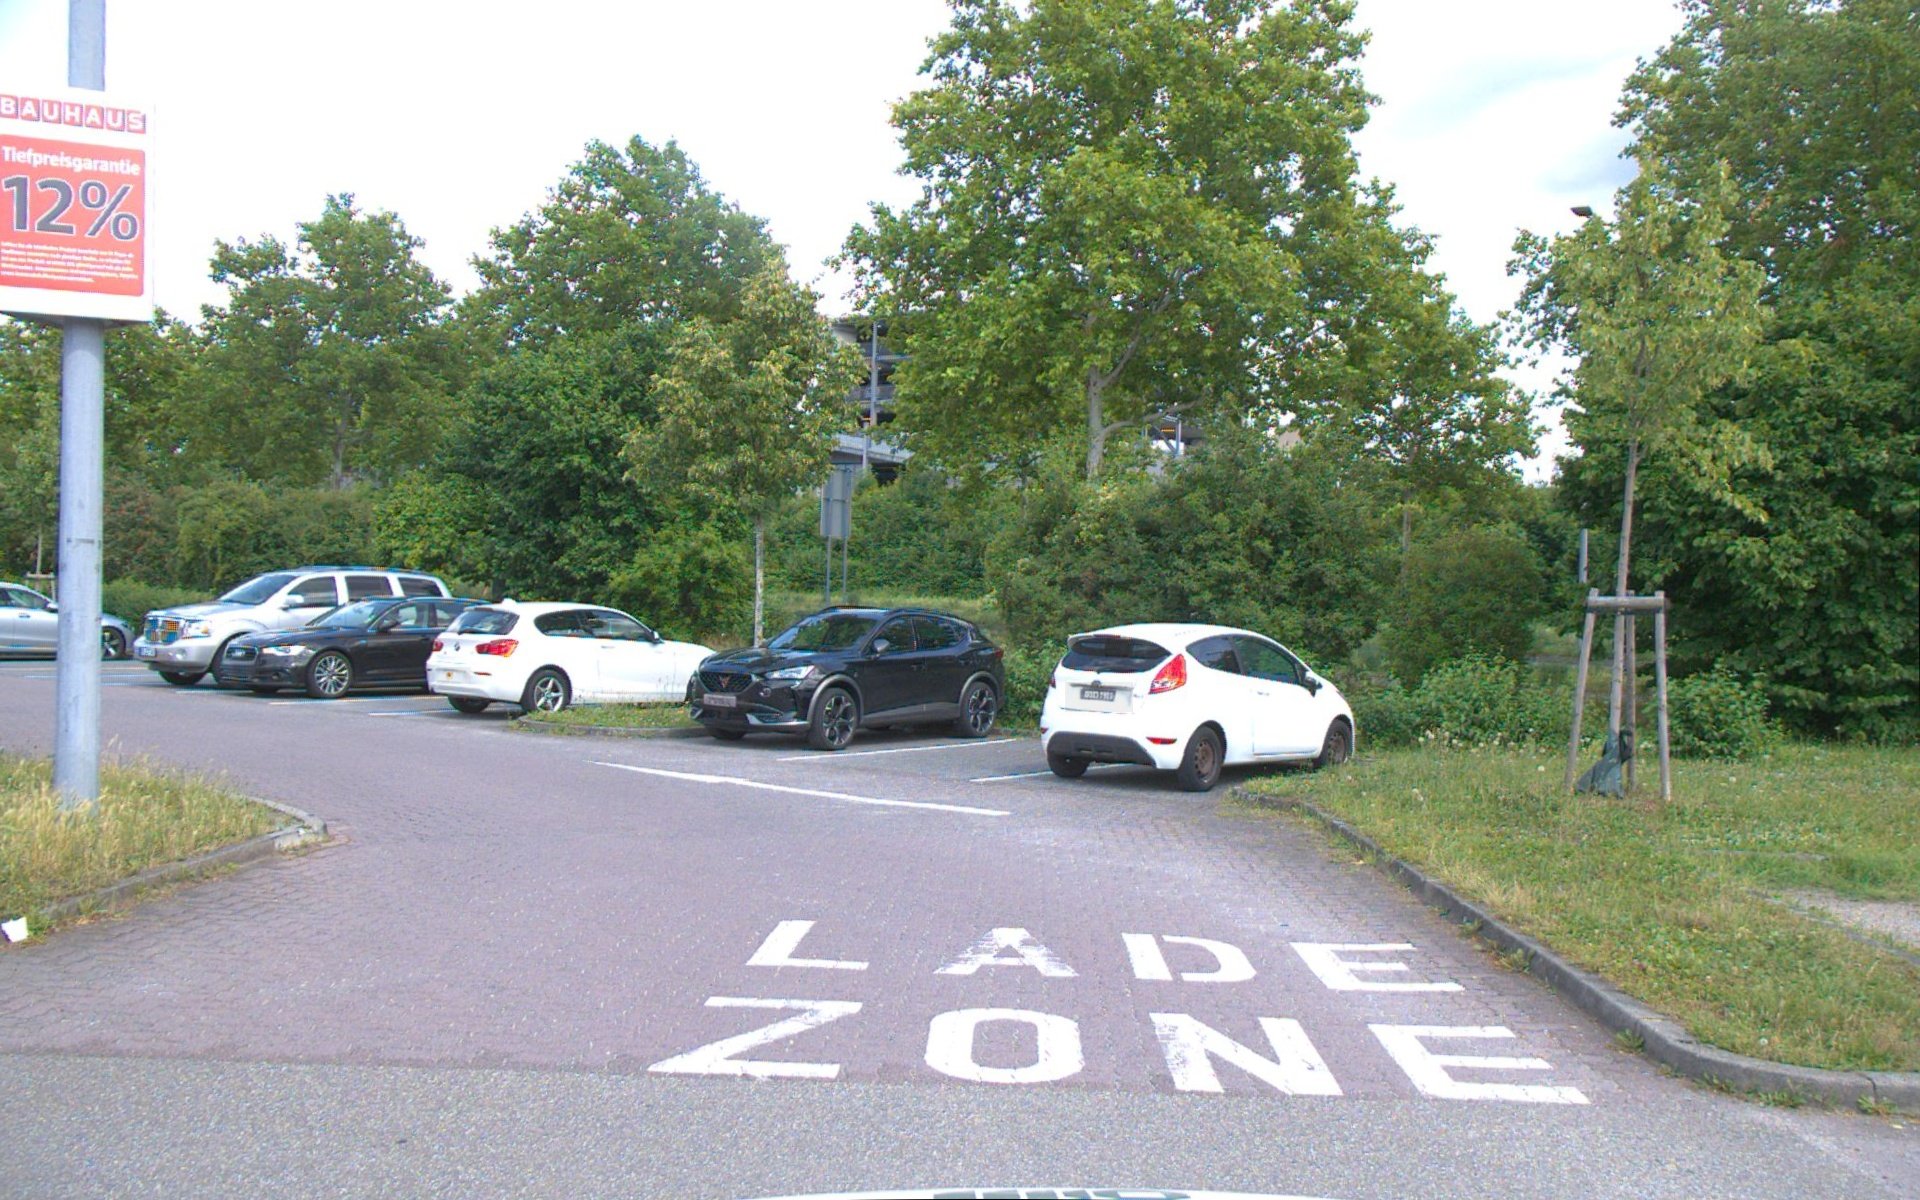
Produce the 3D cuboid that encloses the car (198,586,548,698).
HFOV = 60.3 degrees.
[{"bbox_3d":[-8.607,0.585,24.637,1.804,1.476,4.704,2,0,37],"label":"car"}]

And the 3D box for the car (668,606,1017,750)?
[{"bbox_3d":[-1.229,0.817,19.103,1.699,1.435,4.226,2,0,36],"label":"car"}]

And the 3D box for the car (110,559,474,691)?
[{"bbox_3d":[-10.443,0.364,26.283,1.950,1.875,5.130,1,0,35],"label":"car"}]

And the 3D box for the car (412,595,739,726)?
[{"bbox_3d":[-4.936,0.737,21.717,1.658,1.536,4.063,0,0,38],"label":"car"}]

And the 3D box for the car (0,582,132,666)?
[{"bbox_3d":[-18.330,0.429,31.137,1.749,1.531,4.637,1,0,35],"label":"car"}]

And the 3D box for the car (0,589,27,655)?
[{"bbox_3d":[-21.889,0.421,34.409,1.664,1.405,3.986,-1,-3,35],"label":"car"}]

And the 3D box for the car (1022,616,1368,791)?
[{"bbox_3d":[2.343,0.906,15.921,1.640,1.436,3.537,2,0,41],"label":"car"}]
